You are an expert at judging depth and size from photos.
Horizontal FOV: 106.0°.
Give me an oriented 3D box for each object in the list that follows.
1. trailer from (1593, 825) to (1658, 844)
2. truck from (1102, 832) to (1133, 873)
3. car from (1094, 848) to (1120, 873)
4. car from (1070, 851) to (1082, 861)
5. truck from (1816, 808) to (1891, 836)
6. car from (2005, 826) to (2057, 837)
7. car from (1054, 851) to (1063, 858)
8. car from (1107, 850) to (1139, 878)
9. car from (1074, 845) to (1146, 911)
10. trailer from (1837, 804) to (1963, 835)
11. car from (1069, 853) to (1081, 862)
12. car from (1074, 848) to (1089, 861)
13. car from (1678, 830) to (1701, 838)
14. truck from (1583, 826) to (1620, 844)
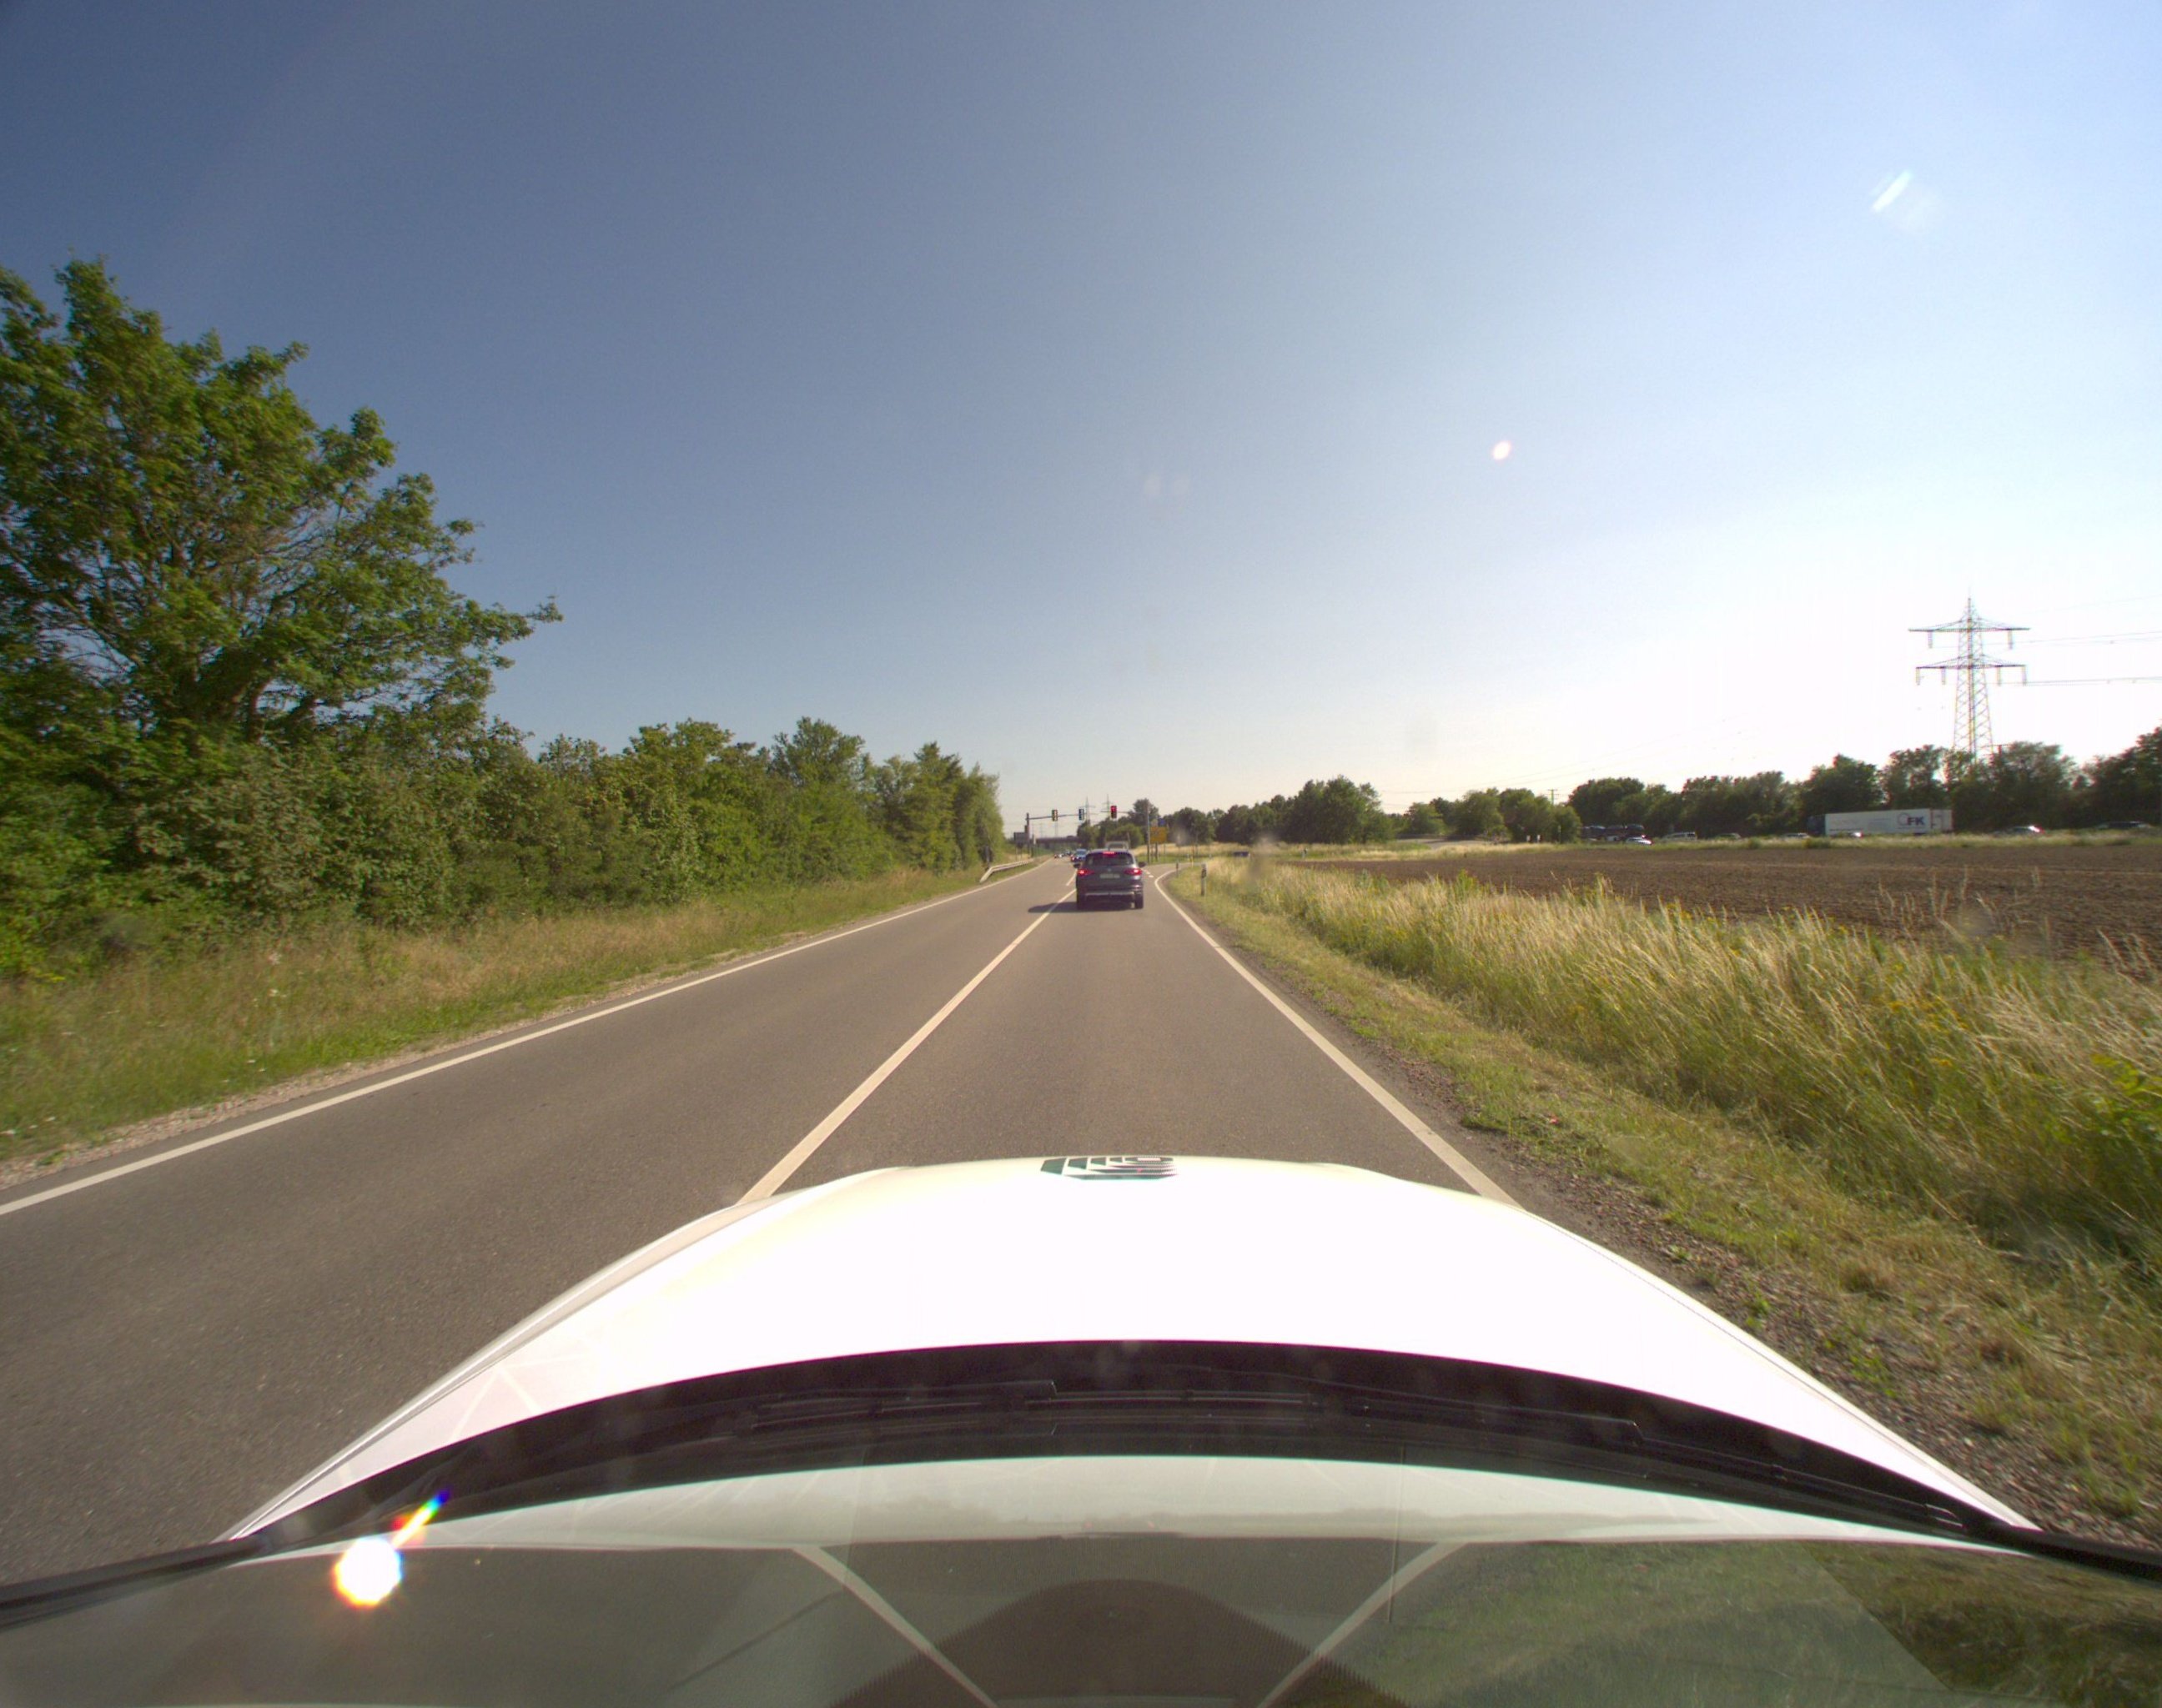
[{"bbox_3d":[102.556,-3.620,153.864,3.273,3.267,13.453,-2,1,0],"label":"trailer"},{"bbox_3d":[2.892,-0.103,65.241,2.328,3.066,5.813,-1,0,2],"label":"truck"},{"bbox_3d":[1.809,0.424,57.682,1.779,1.675,4.001,-1,0,1],"label":"car"},{"bbox_3d":[-0.739,0.260,121.844,1.680,1.380,3.531,-1,1,-2],"label":"car"},{"bbox_3d":[102.912,-4.236,108.619,3.273,3.267,6.979,-2,0,0],"label":"truck"},{"bbox_3d":[101.724,-2.418,87.283,1.390,1.151,3.580,0,1,-1],"label":"car"},{"bbox_3d":[-5.223,0.146,188.911,1.820,1.431,3.996,-2,0,-3],"label":"car"},{"bbox_3d":[2.540,0.573,49.820,1.779,1.543,4.001,-1,0,1],"label":"car"},{"bbox_3d":[0.783,0.595,22.756,1.779,1.629,4.001,-1,0,1],"label":"car"},{"bbox_3d":[102.882,-4.231,102.757,3.273,3.267,12.456,-2,0,0],"label":"trailer"},{"bbox_3d":[-0.950,0.482,128.422,1.680,1.380,3.531,-1,1,-2],"label":"car"},{"bbox_3d":[0.002,0.056,109.383,1.812,1.540,3.997,-2,0,-2],"label":"car"},{"bbox_3d":[95.619,-3.123,128.009,1.389,1.151,3.182,0,1,1],"label":"car"},{"bbox_3d":[102.615,-3.704,160.699,3.273,3.267,6.429,-2,1,0],"label":"truck"}]
